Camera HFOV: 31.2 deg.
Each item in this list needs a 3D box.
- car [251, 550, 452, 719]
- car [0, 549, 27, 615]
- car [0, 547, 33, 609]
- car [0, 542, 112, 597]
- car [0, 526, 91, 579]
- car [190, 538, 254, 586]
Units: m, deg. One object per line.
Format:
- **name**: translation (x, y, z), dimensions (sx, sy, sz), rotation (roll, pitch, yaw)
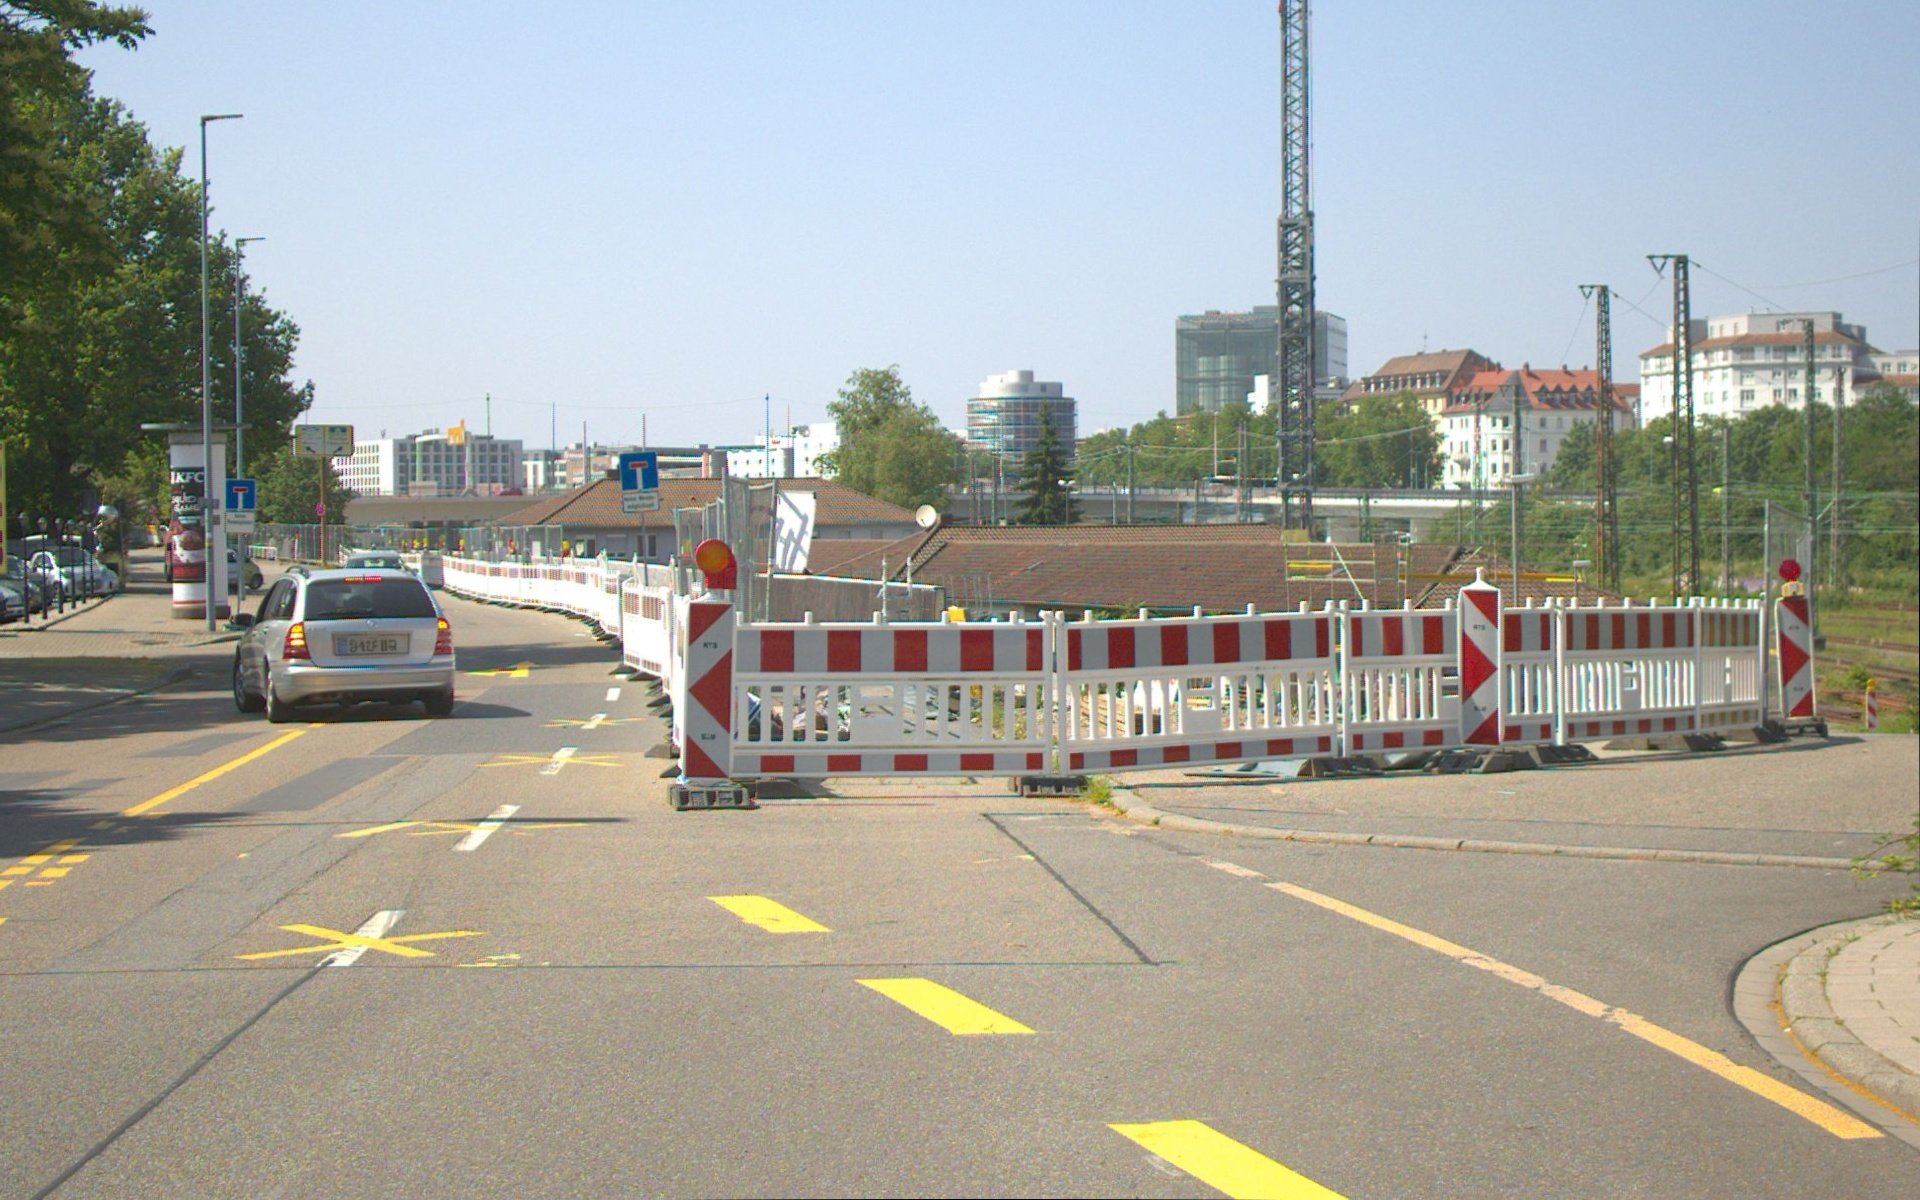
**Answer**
- **car**: translation (-5.822, 0.275, 32.851), dimensions (1.708, 1.399, 4.388), rotation (-3, 2, -10)
- **car**: translation (-23.302, -0.376, 79.918), dimensions (1.836, 1.468, 3.999), rotation (-5, 3, -34)
- **car**: translation (-24.660, -0.480, 85.293), dimensions (1.780, 1.468, 3.999), rotation (-5, 2, -37)
- **car**: translation (-26.846, -0.883, 101.797), dimensions (1.777, 1.468, 3.998), rotation (-5, 3, -39)
- **car**: translation (-34.590, -1.786, 128.517), dimensions (3.922, 1.952, 1.760), rotation (0, 1, -19)
- **car**: translation (-25.384, -1.337, 118.330), dimensions (1.869, 1.493, 4.033), rotation (-2, 2, -8)
